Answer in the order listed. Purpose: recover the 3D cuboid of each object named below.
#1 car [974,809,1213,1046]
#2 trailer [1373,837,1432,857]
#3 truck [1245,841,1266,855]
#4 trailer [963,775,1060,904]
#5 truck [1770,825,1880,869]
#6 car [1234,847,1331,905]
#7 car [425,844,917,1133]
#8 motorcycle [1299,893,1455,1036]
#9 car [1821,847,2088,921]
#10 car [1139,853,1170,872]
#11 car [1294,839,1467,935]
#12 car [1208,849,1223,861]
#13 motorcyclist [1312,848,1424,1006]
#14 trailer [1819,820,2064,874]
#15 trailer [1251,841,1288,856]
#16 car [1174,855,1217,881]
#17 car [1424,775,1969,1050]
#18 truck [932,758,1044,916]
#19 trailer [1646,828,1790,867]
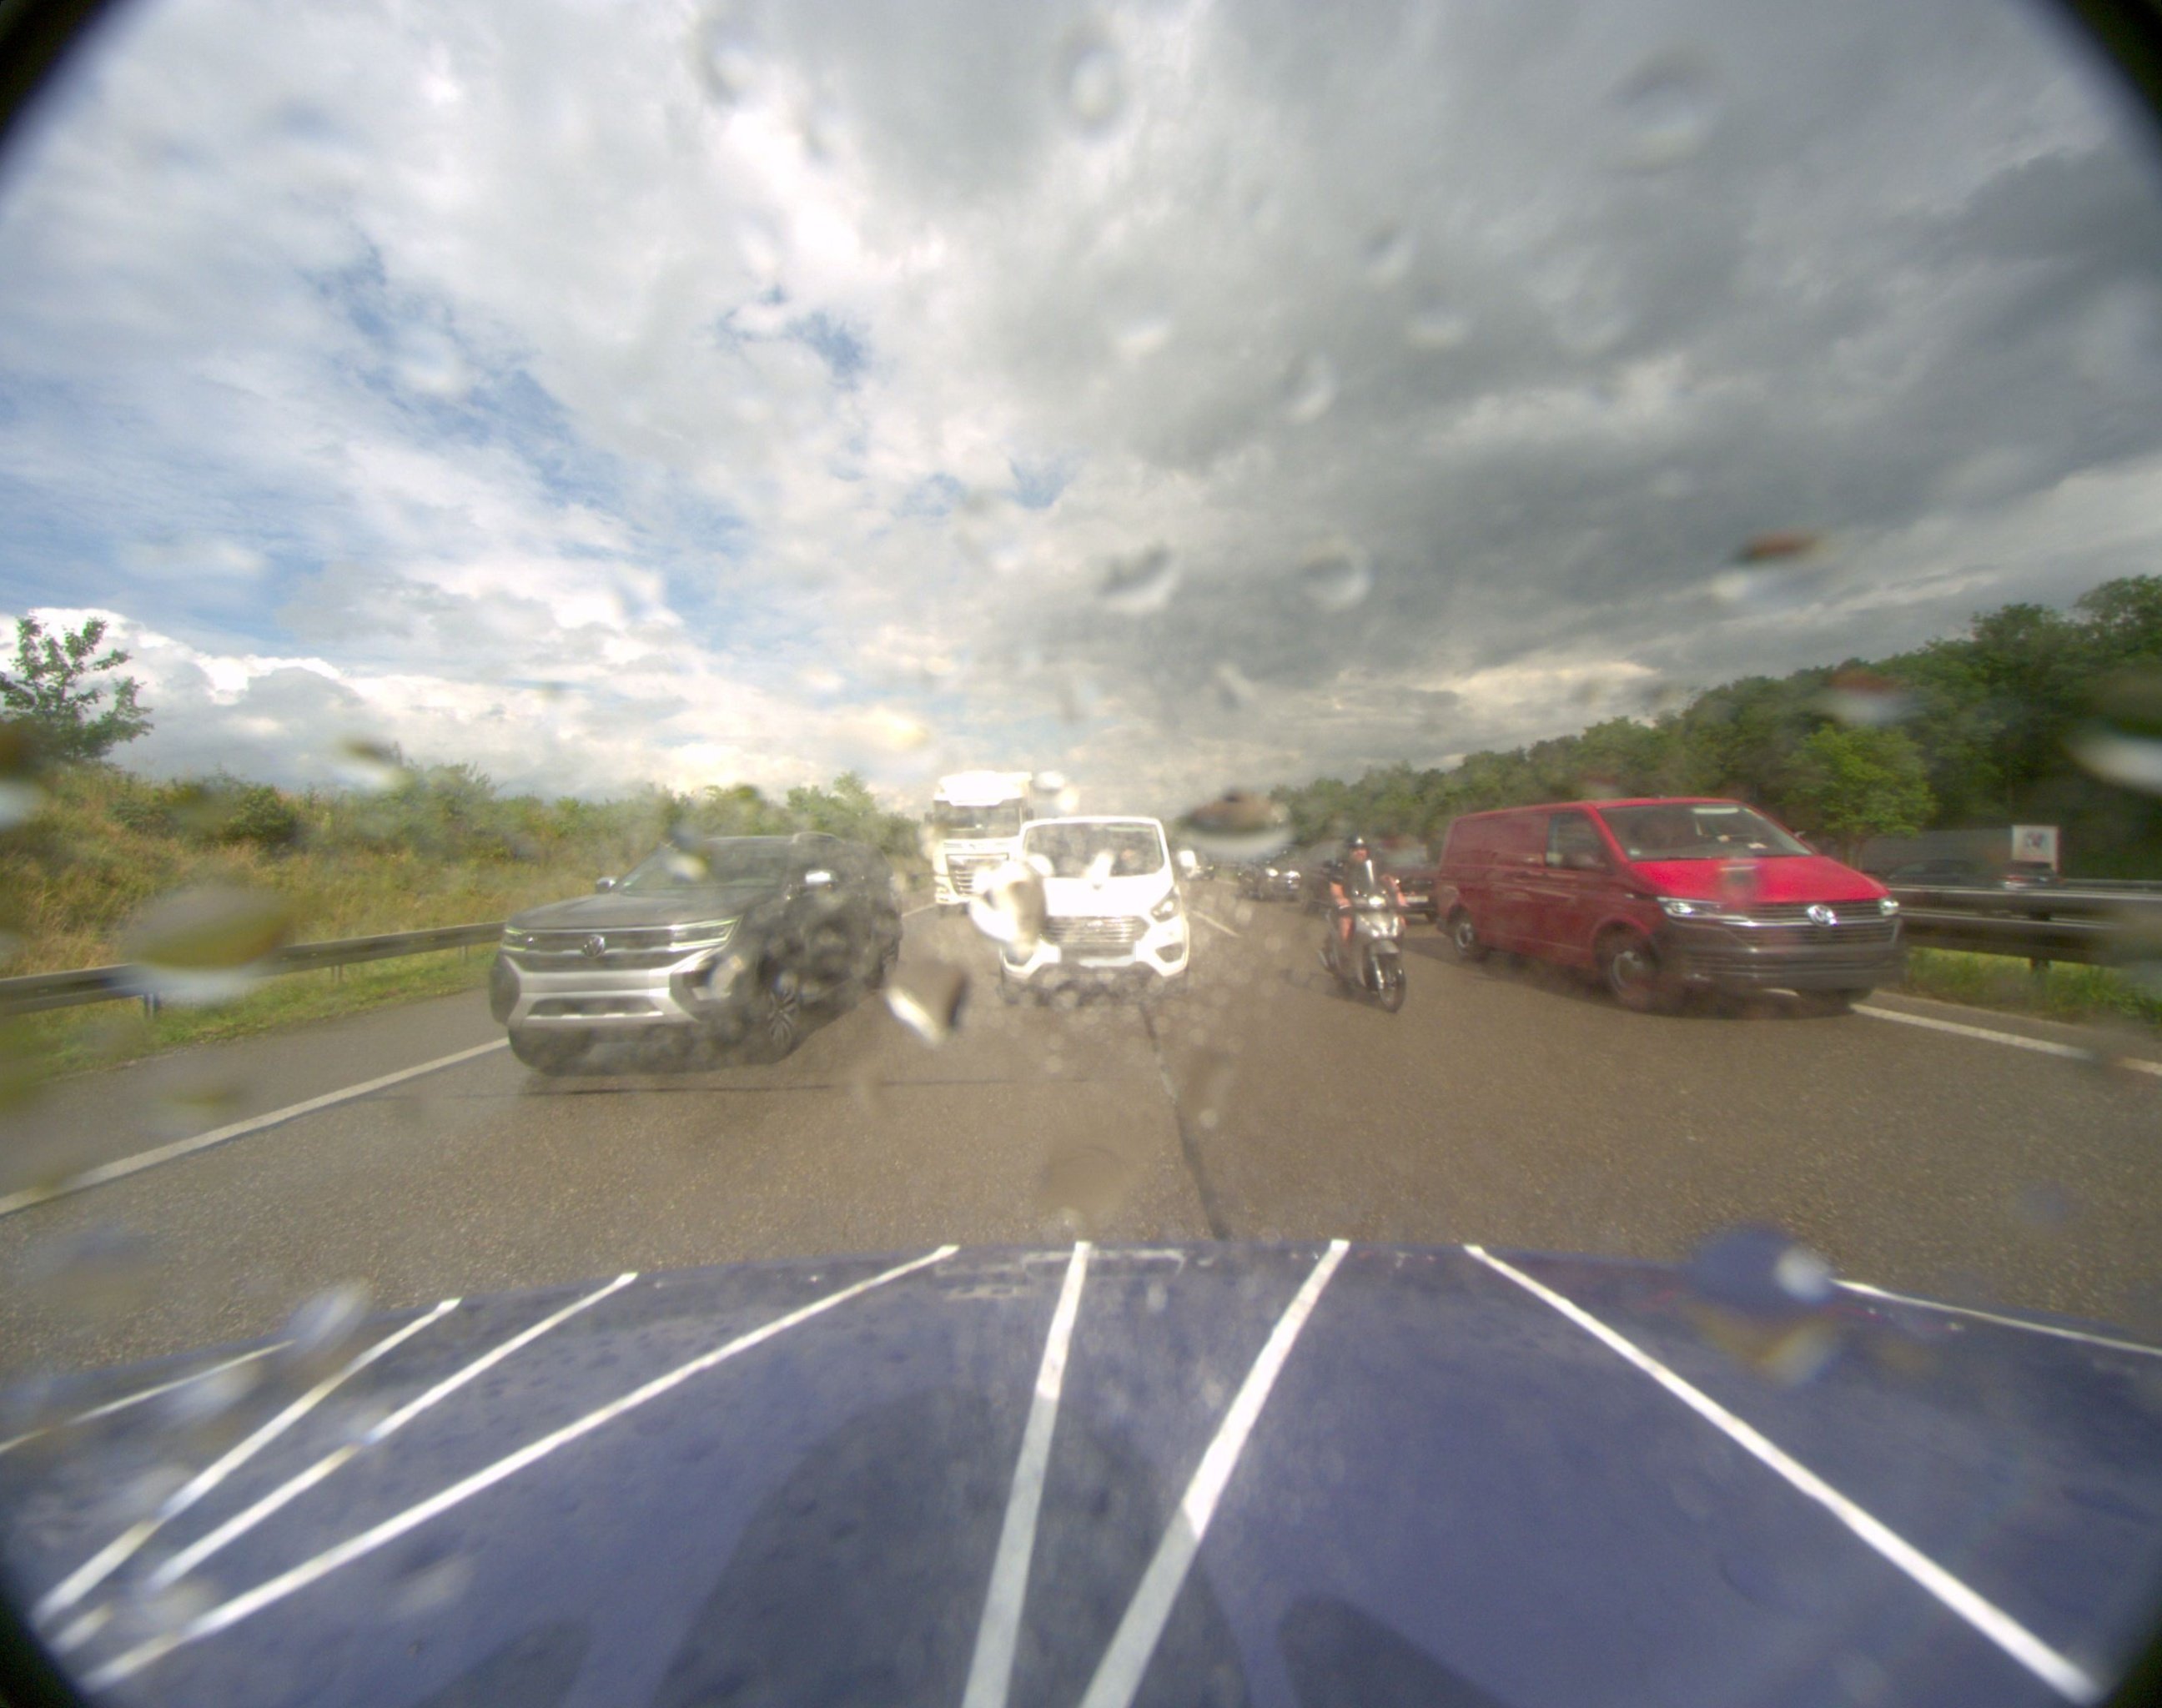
[{"bbox_3d":[0.149,0.623,9.090,1.985,1.973,5.168,-2,0,1],"label":"car"},{"bbox_3d":[54.311,-1.214,128.975,3.085,3.253,13.401,0,0,-6],"label":"trailer"},{"bbox_3d":[42.878,-1.395,186.799,2.700,3.462,6.332,0,0,-13],"label":"truck"},{"bbox_3d":[-2.421,-0.532,30.684,2.451,4.095,12.215,-2,1,1],"label":"trailer"},{"bbox_3d":[56.967,-0.531,58.402,3.049,3.165,5.598,0,0,3],"label":"truck"},{"bbox_3d":[5.949,0.599,22.943,1.895,1.558,4.053,-2,0,1],"label":"car"},{"bbox_3d":[-3.161,0.838,7.457,1.831,1.793,5.305,-1,0,1],"label":"car"},{"bbox_3d":[2.822,0.996,7.495,0.677,1.080,1.981,-2,0,-2],"label":"motorcycle"},{"bbox_3d":[22.585,0.691,20.002,1.871,1.735,4.502,0,0,1],"label":"car"},{"bbox_3d":[5.459,0.615,56.588,1.888,1.228,4.506,-2,0,1],"label":"car"},{"bbox_3d":[5.923,0.576,15.635,1.895,1.660,4.295,-2,0,1],"label":"car"},{"bbox_3d":[24.138,0.145,136.700,1.998,2.002,3.999,-2,1,1],"label":"car"},{"bbox_3d":[2.811,0.670,7.533,0.672,1.433,1.019,-2,1,-2],"label":"motorcyclist"},{"bbox_3d":[56.593,-0.433,50.855,3.026,3.174,12.176,0,0,3],"label":"trailer"},{"bbox_3d":[44.494,-1.355,179.776,2.707,3.492,13.404,0,1,-13],"label":"trailer"},{"bbox_3d":[5.995,0.687,40.231,1.675,1.228,4.000,-2,0,1],"label":"car"},{"bbox_3d":[5.618,0.430,7.988,1.895,1.973,4.750,-2,0,1],"label":"car"},{"bbox_3d":[-2.589,-0.443,22.749,2.460,4.080,5.332,-2,0,1],"label":"truck"},{"bbox_3d":[57.479,-0.585,69.254,2.611,3.253,12.647,0,0,1],"label":"trailer"}]
